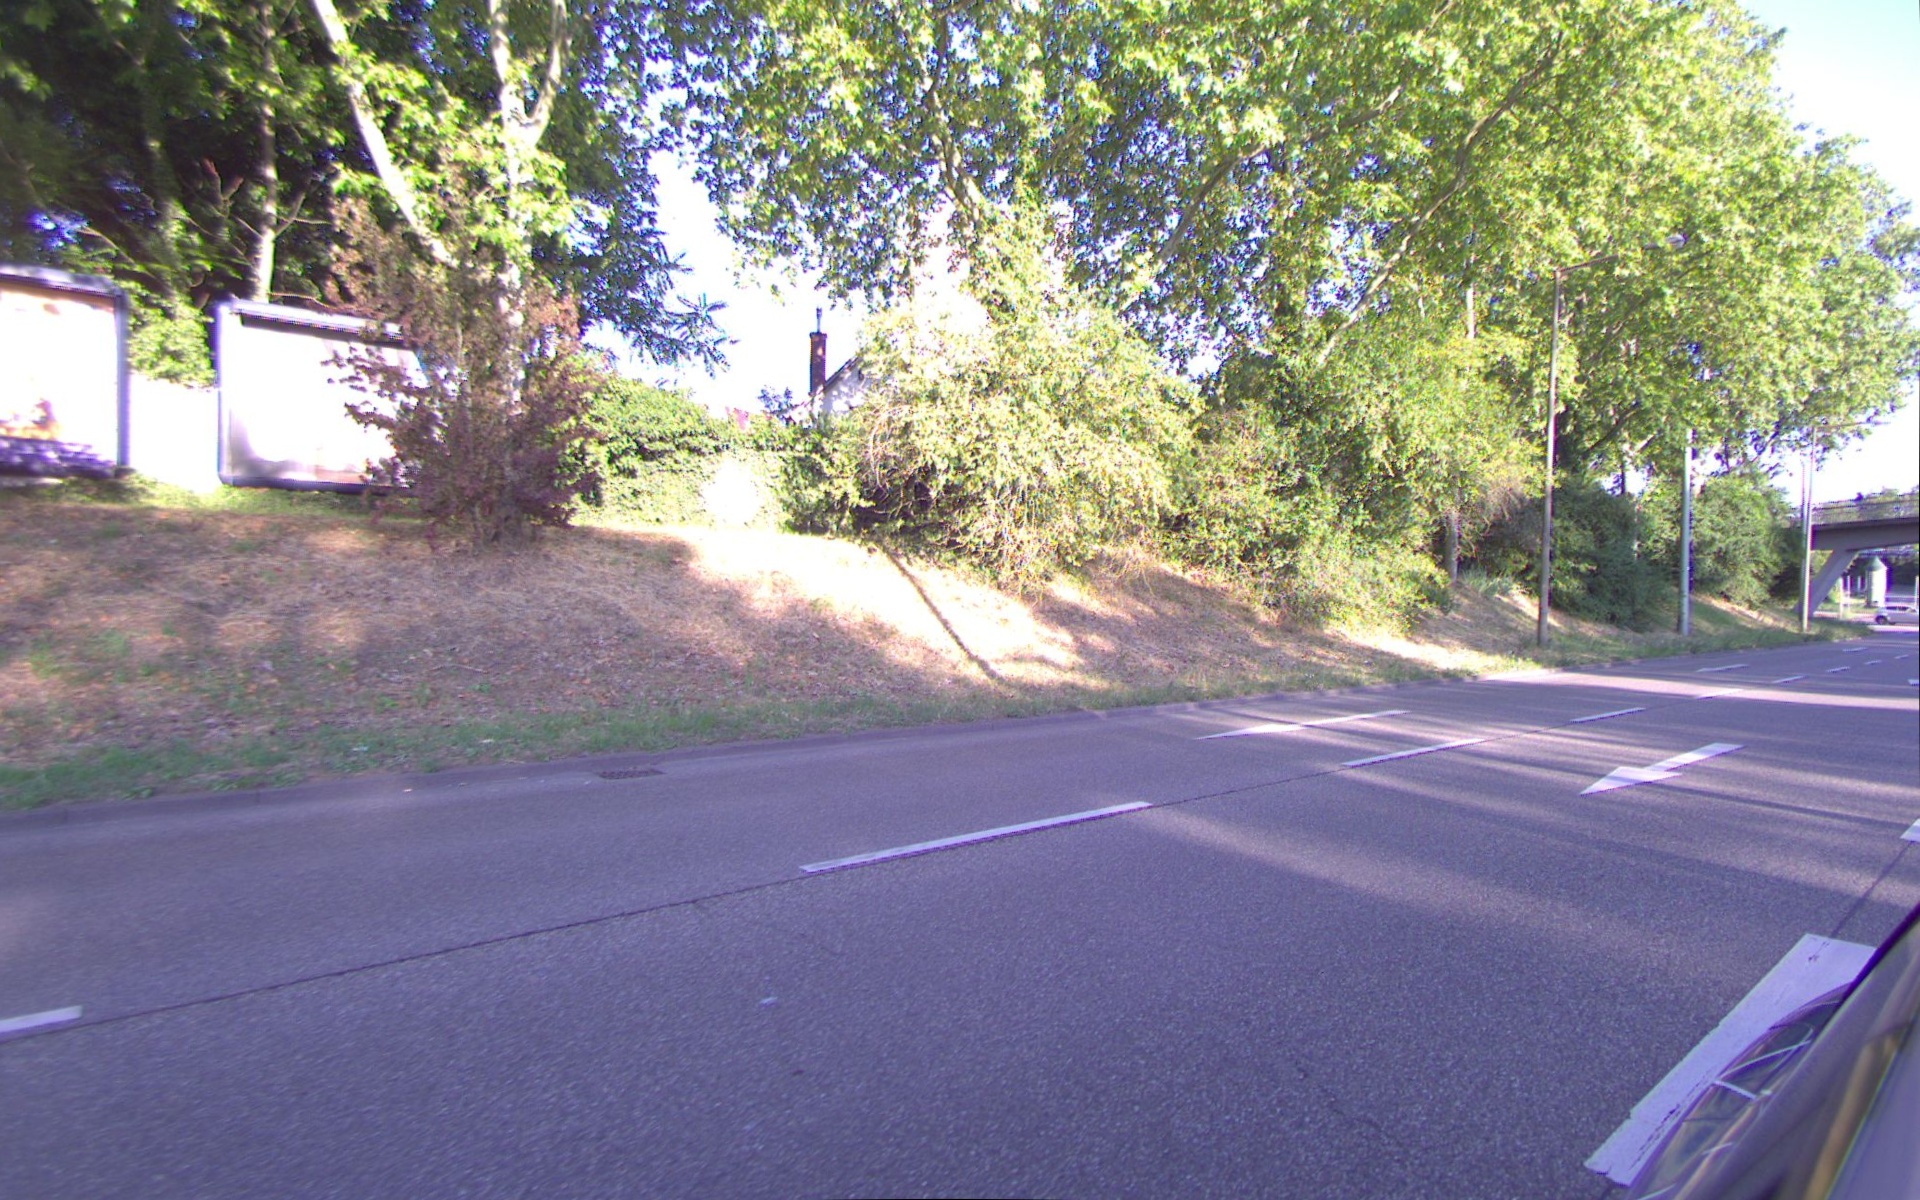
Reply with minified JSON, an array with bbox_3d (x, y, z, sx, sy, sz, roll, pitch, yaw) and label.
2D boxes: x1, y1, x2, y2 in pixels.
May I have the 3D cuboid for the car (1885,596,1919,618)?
[{"bbox_3d":[67.275,0.468,70.422,1.590,1.512,4.037,0,0,-25],"label":"car"}]
